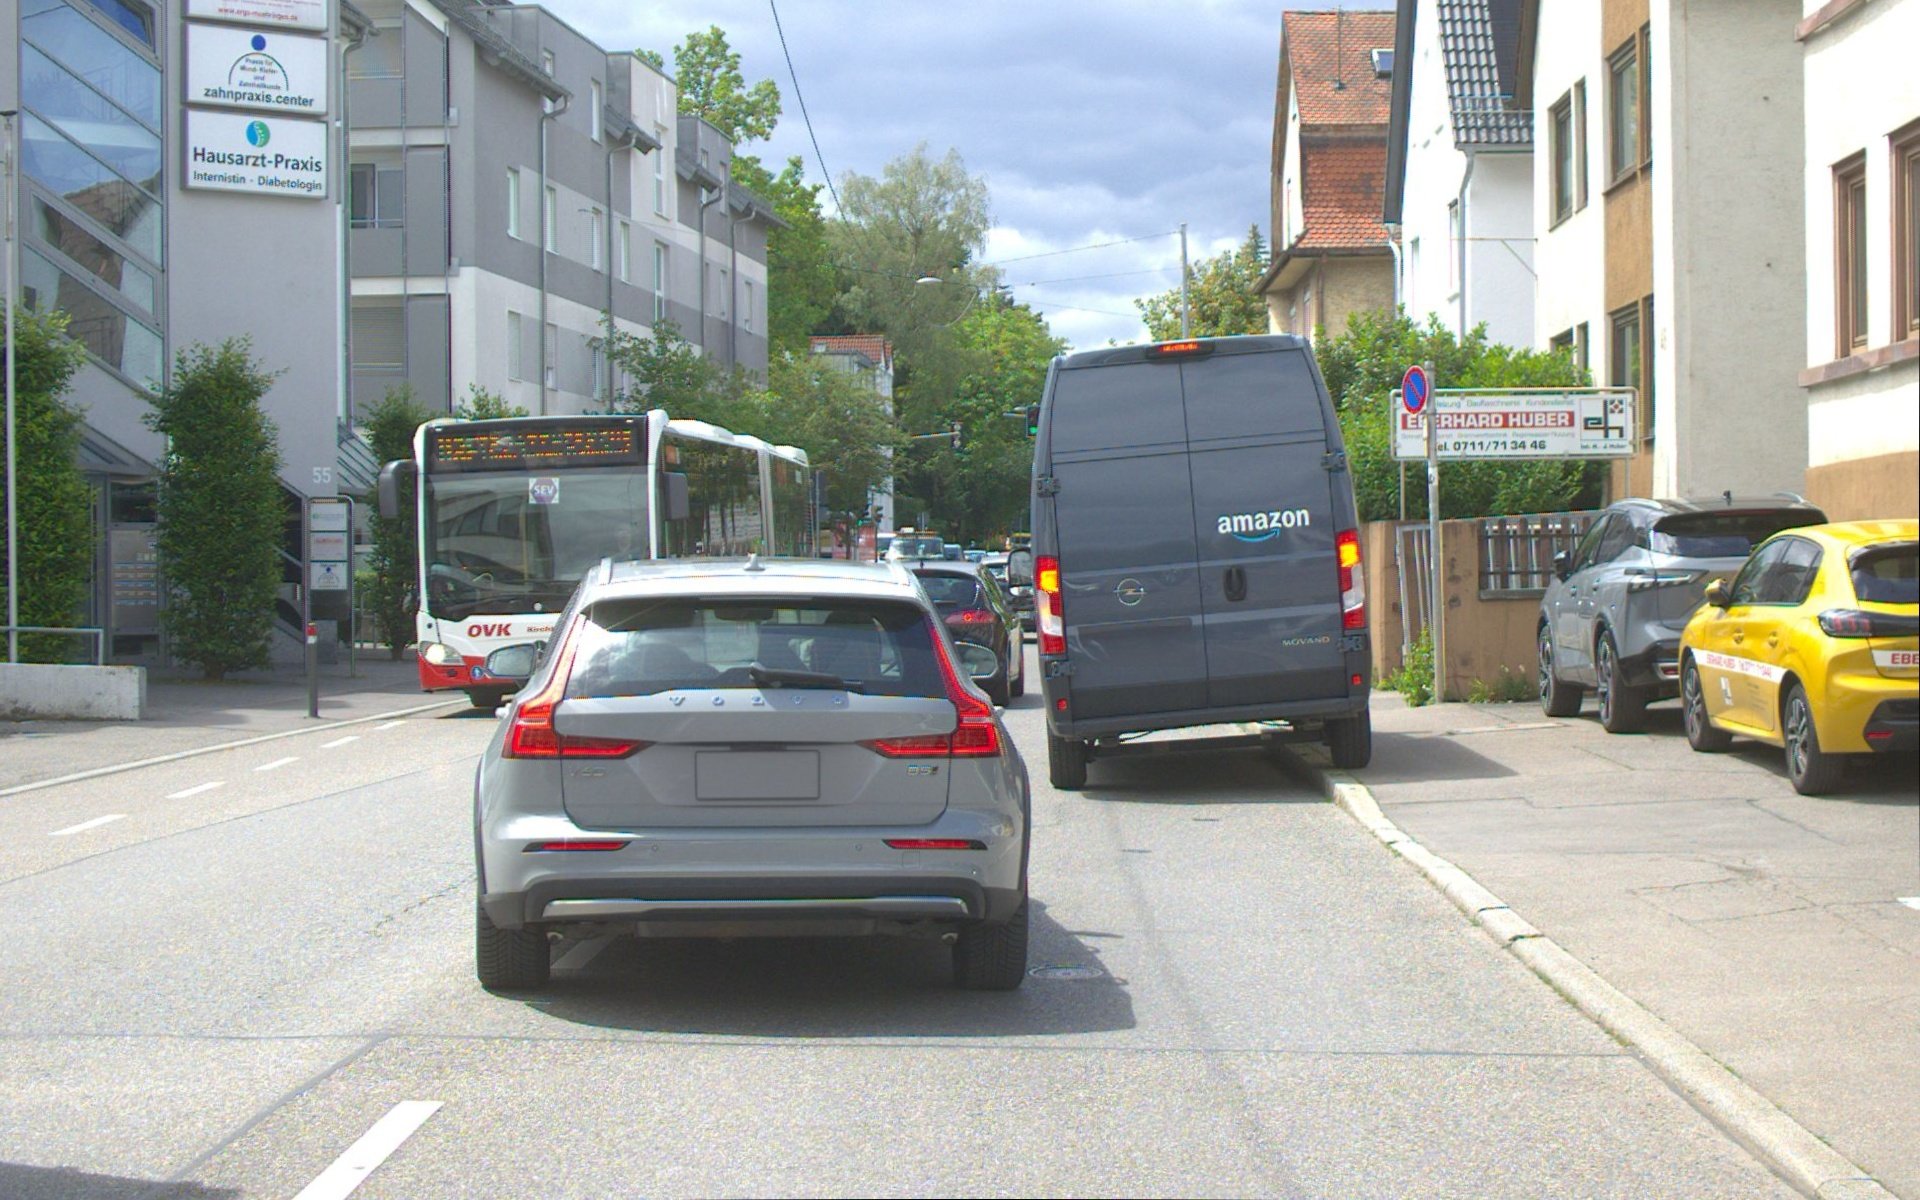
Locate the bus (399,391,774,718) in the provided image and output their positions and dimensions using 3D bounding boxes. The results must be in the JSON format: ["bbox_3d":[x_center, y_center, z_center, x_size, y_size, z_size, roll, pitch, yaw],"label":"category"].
[{"bbox_3d":[-3.924,-0.511,38.667,2.682,3.153,10.184,-1,1,2],"label":"bus"}]

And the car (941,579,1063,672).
[{"bbox_3d":[0.738,0.403,57.638,1.896,1.441,3.968,0,1,3],"label":"car"}]

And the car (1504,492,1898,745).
[{"bbox_3d":[5.237,0.080,24.906,1.860,1.606,4.586,-2,1,1],"label":"car"}]

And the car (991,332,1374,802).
[{"bbox_3d":[1.511,-0.230,23.353,2.253,2.786,5.568,-1,1,4],"label":"car"}]

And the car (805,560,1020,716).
[{"bbox_3d":[-0.421,0.341,34.637,1.896,1.441,3.968,1,1,3],"label":"car"}]

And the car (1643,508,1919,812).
[{"bbox_3d":[5.396,0.258,20.114,1.877,1.442,4.308,-1,3,-1],"label":"car"}]

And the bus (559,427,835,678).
[{"bbox_3d":[-3.497,-0.653,47.759,2.716,3.153,8.068,-1,1,3],"label":"bus"}]

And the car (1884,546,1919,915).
[{"bbox_3d":[4.758,0.521,11.622,1.968,1.442,4.536,-1,1,-1],"label":"car"}]

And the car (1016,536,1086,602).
[{"bbox_3d":[2.778,-0.963,105.938,1.993,2.007,4.000,-1,1,-1],"label":"car"}]

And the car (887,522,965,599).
[{"bbox_3d":[-0.986,-1.168,101.629,2.105,2.114,4.765,-3,1,1],"label":"car"}]

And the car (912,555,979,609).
[{"bbox_3d":[-0.460,-0.594,112.375,2.105,1.704,4.765,-1,1,1],"label":"car"}]

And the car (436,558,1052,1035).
[{"bbox_3d":[-0.748,0.589,12.643,1.896,1.448,3.969,0,1,-2],"label":"car"}]

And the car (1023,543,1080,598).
[{"bbox_3d":[3.432,-1.106,128.205,1.994,2.007,4.000,0,1,3],"label":"car"}]
